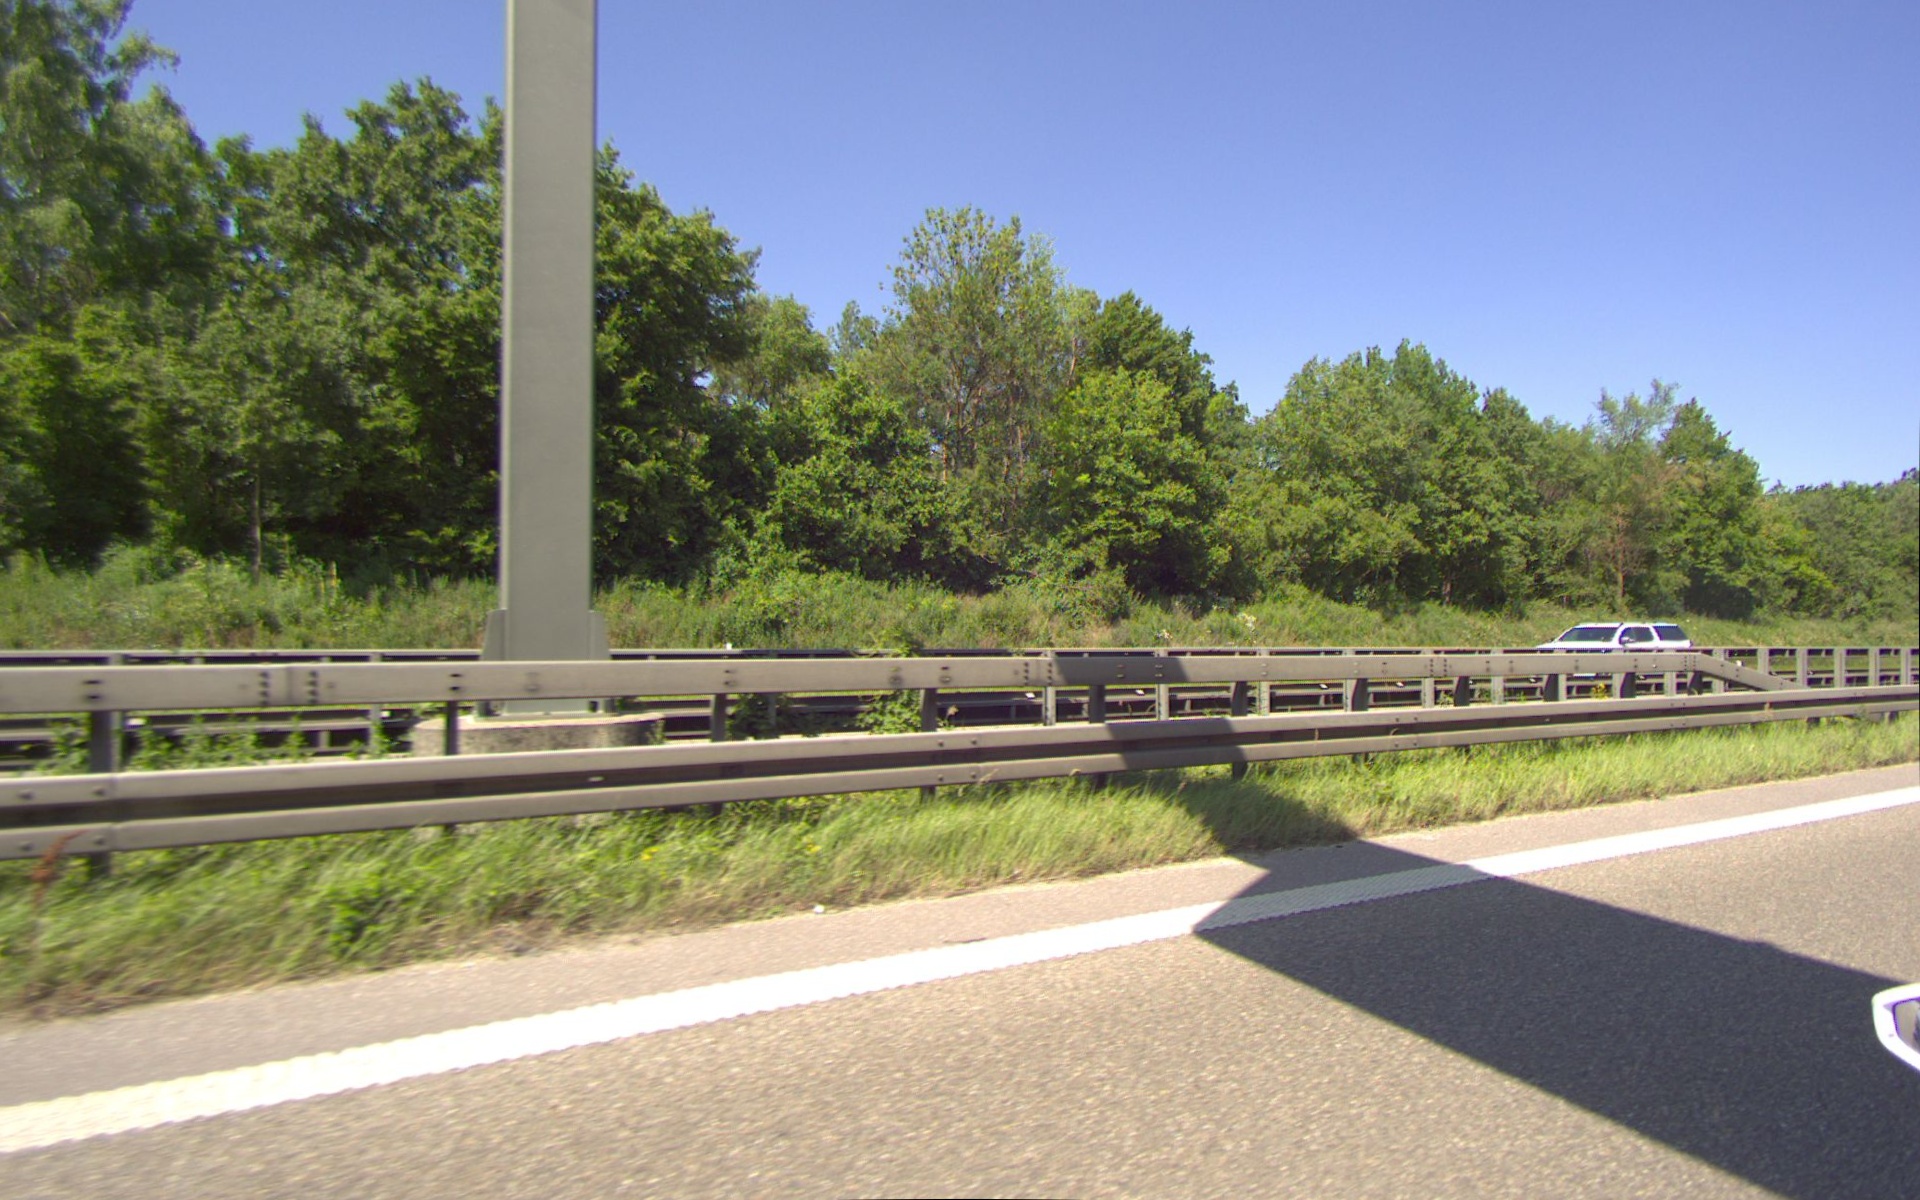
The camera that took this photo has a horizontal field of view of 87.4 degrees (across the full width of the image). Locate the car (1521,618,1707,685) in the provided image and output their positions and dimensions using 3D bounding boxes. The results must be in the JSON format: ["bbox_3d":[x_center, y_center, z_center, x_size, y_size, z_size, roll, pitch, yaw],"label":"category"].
[{"bbox_3d":[17.598,1.362,26.957,5.471,1.654,1.771,1,-3,-29],"label":"car"}]
